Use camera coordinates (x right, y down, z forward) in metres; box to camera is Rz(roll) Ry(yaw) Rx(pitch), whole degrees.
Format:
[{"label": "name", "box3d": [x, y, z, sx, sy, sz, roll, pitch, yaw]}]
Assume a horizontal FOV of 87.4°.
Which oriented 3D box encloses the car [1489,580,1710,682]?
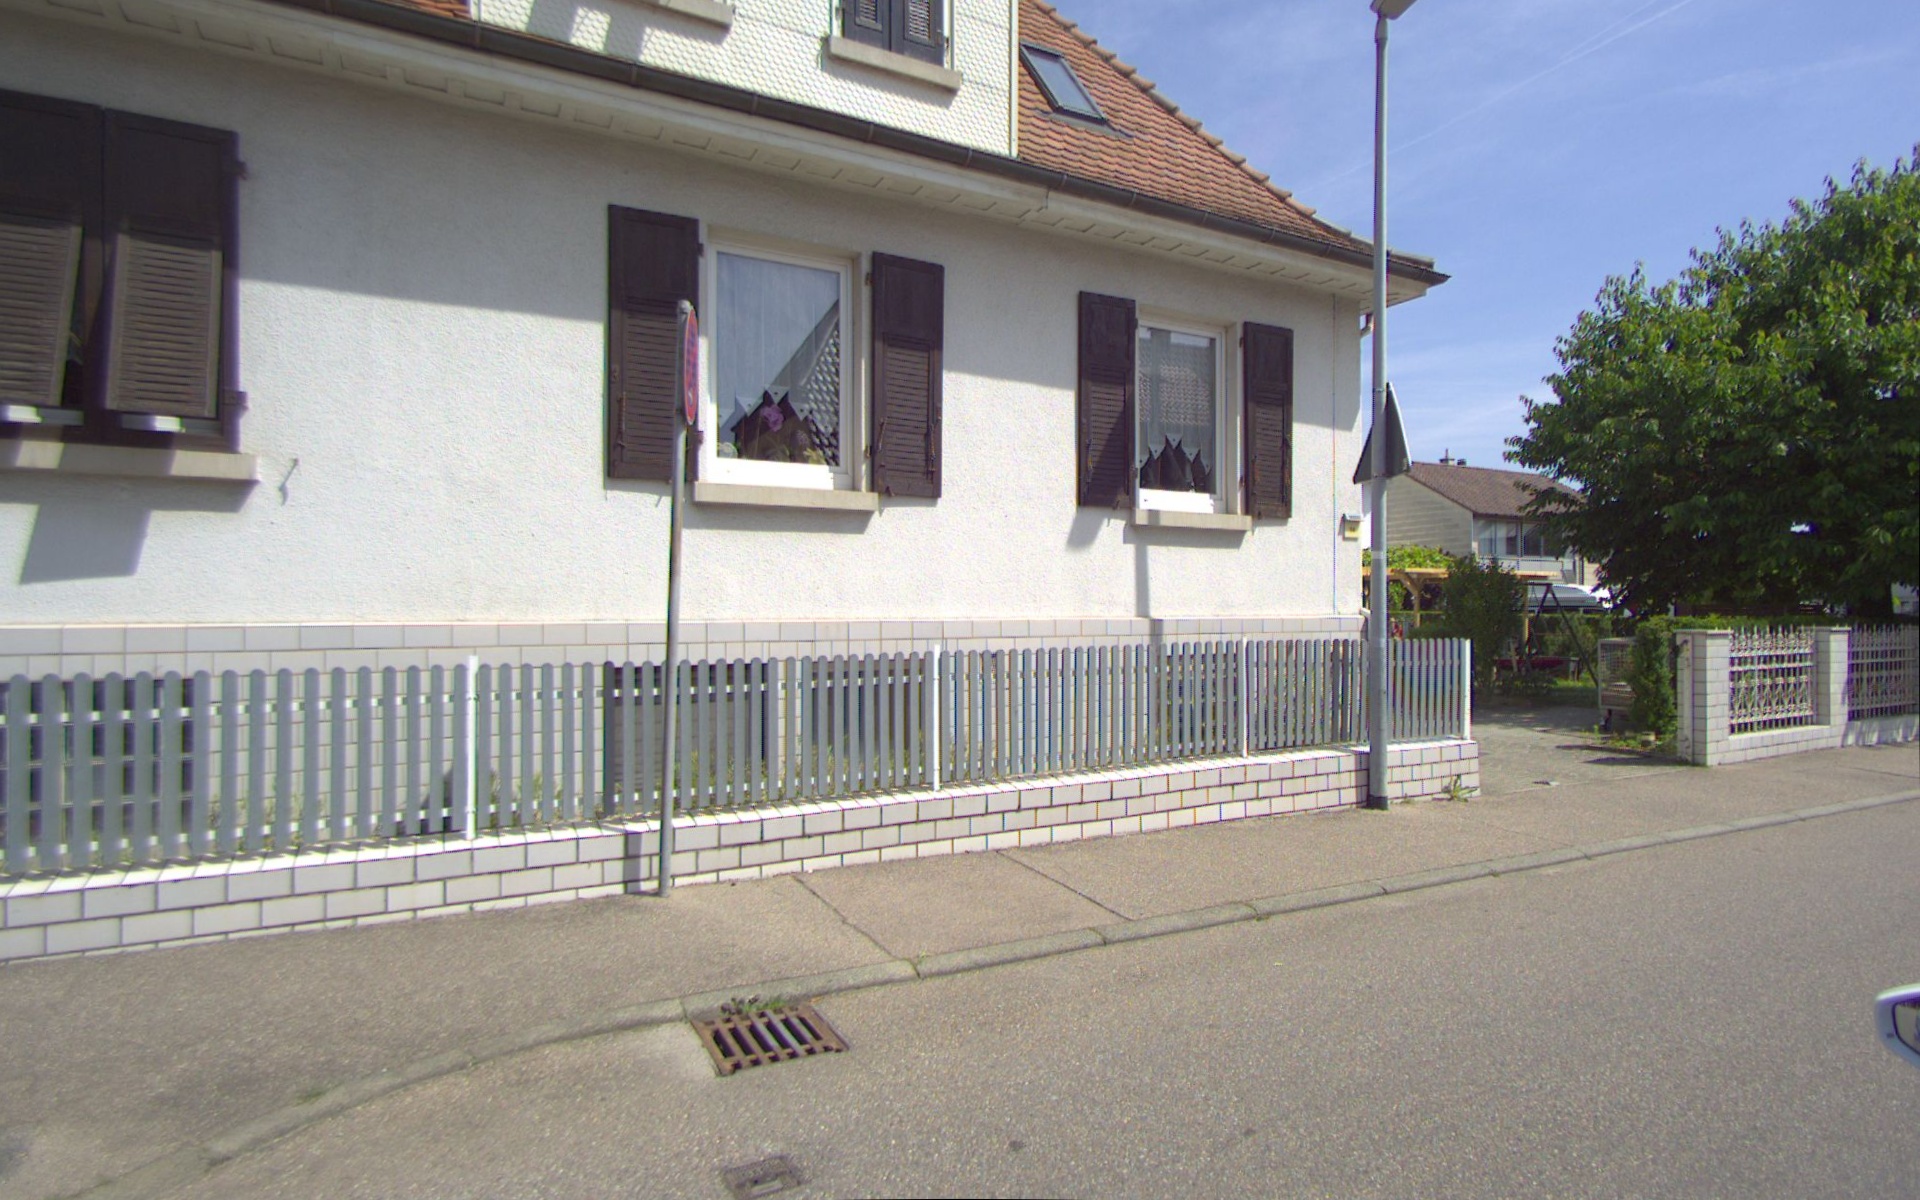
[{"label": "car", "box3d": [17.331, 0.818, 27.504, 1.942, 2.525, 4.782, 1, -1, -29]}]
